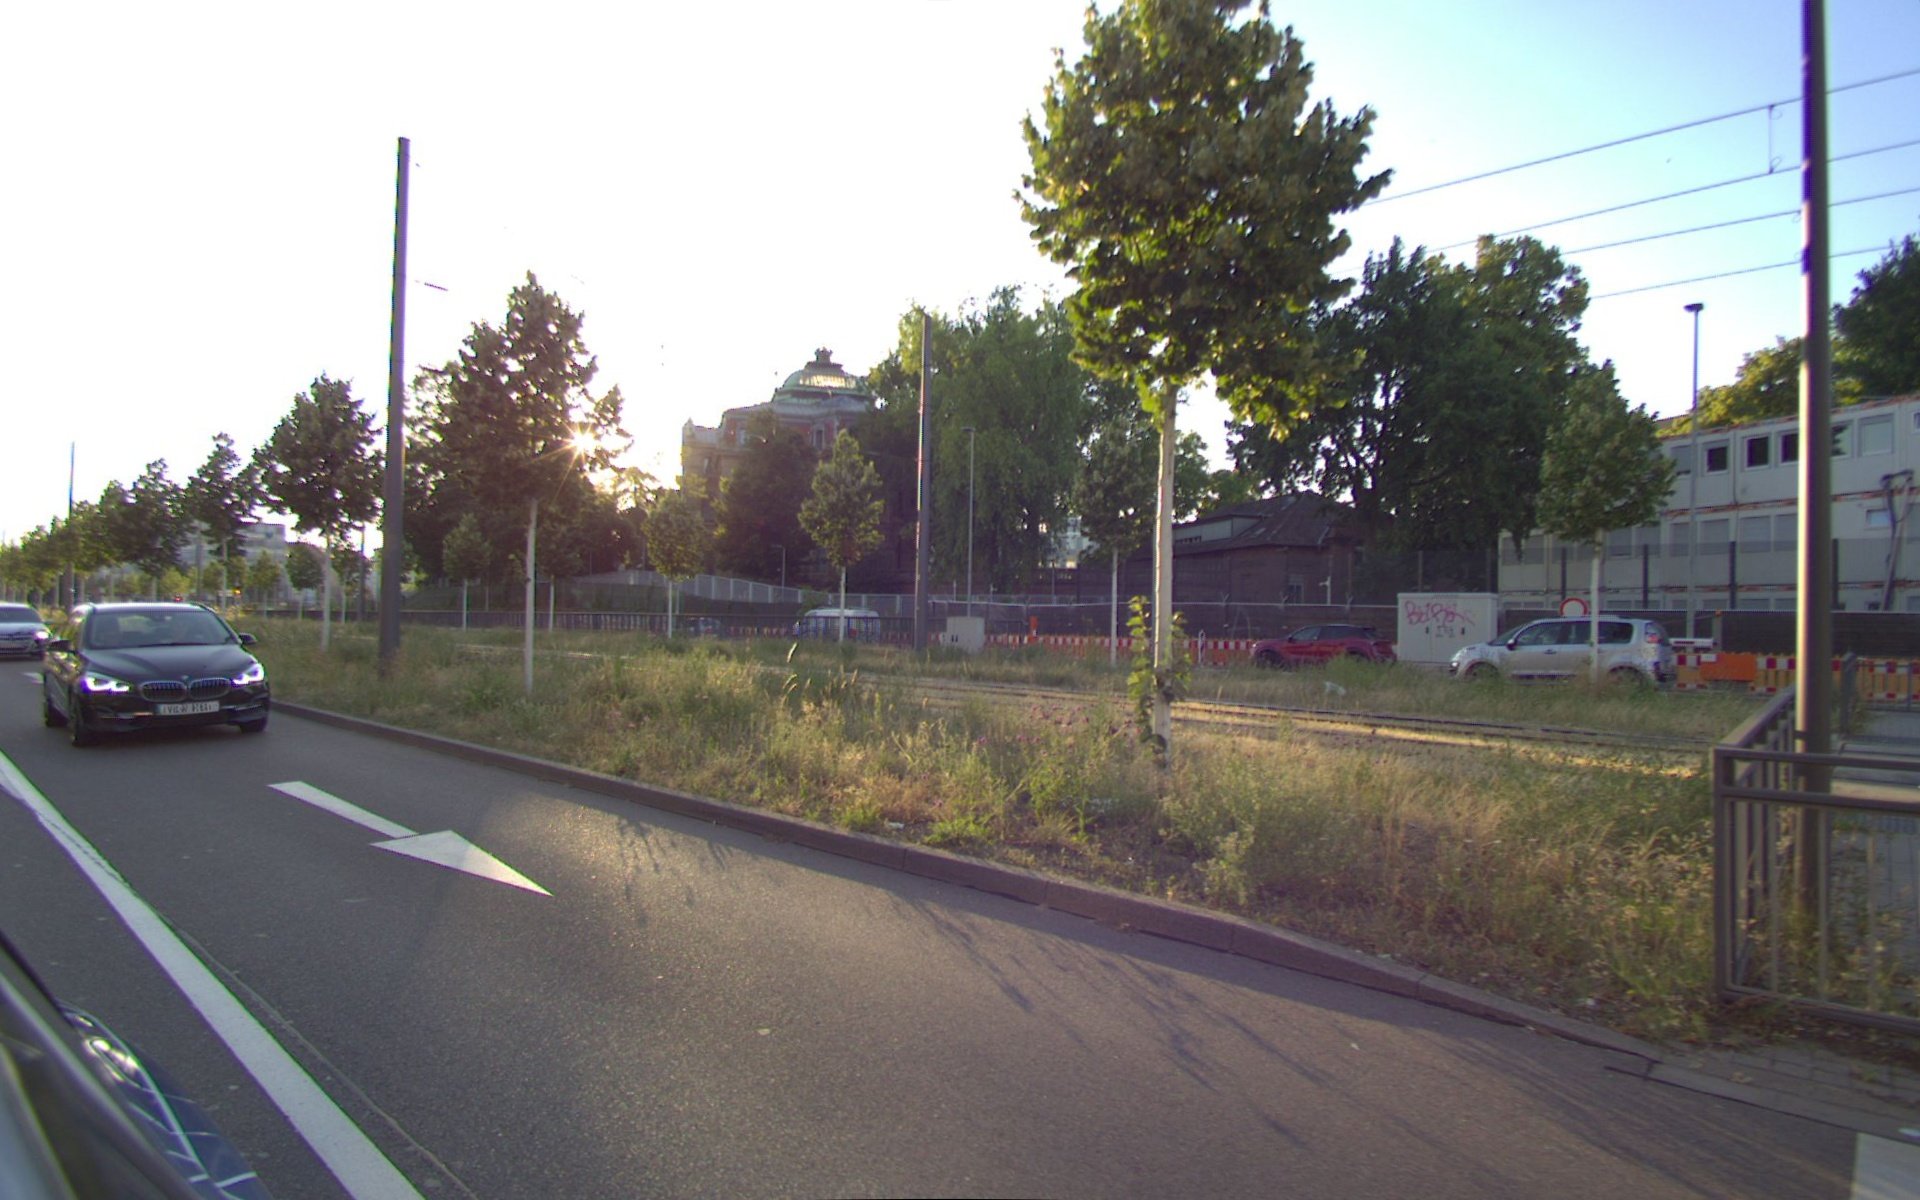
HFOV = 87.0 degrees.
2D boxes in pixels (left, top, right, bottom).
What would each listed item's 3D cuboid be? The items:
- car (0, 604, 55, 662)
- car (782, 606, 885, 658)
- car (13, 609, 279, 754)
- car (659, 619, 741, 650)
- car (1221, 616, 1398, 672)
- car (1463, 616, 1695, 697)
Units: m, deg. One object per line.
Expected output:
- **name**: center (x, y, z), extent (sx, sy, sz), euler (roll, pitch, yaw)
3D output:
- **car**: center (-25.932, 0.897, 27.286), extent (4.842, 1.444, 1.834), euler (-2, -2, 43)
- **car**: center (-5.679, 1.436, 45.018), extent (4.751, 2.184, 1.971), euler (-2, -2, 44)
- **car**: center (-10.169, 0.893, 12.493), extent (4.841, 1.444, 1.835), euler (-2, -2, 42)
- **car**: center (-13.564, 1.795, 52.596), extent (4.521, 1.492, 1.972), euler (-2, -2, 42)
- **car**: center (10.242, 1.275, 29.886), extent (4.522, 1.492, 1.972), euler (-2, -2, 43)
- **car**: center (12.548, 1.083, 20.648), extent (3.783, 1.492, 1.780), euler (-1, -2, 43)
